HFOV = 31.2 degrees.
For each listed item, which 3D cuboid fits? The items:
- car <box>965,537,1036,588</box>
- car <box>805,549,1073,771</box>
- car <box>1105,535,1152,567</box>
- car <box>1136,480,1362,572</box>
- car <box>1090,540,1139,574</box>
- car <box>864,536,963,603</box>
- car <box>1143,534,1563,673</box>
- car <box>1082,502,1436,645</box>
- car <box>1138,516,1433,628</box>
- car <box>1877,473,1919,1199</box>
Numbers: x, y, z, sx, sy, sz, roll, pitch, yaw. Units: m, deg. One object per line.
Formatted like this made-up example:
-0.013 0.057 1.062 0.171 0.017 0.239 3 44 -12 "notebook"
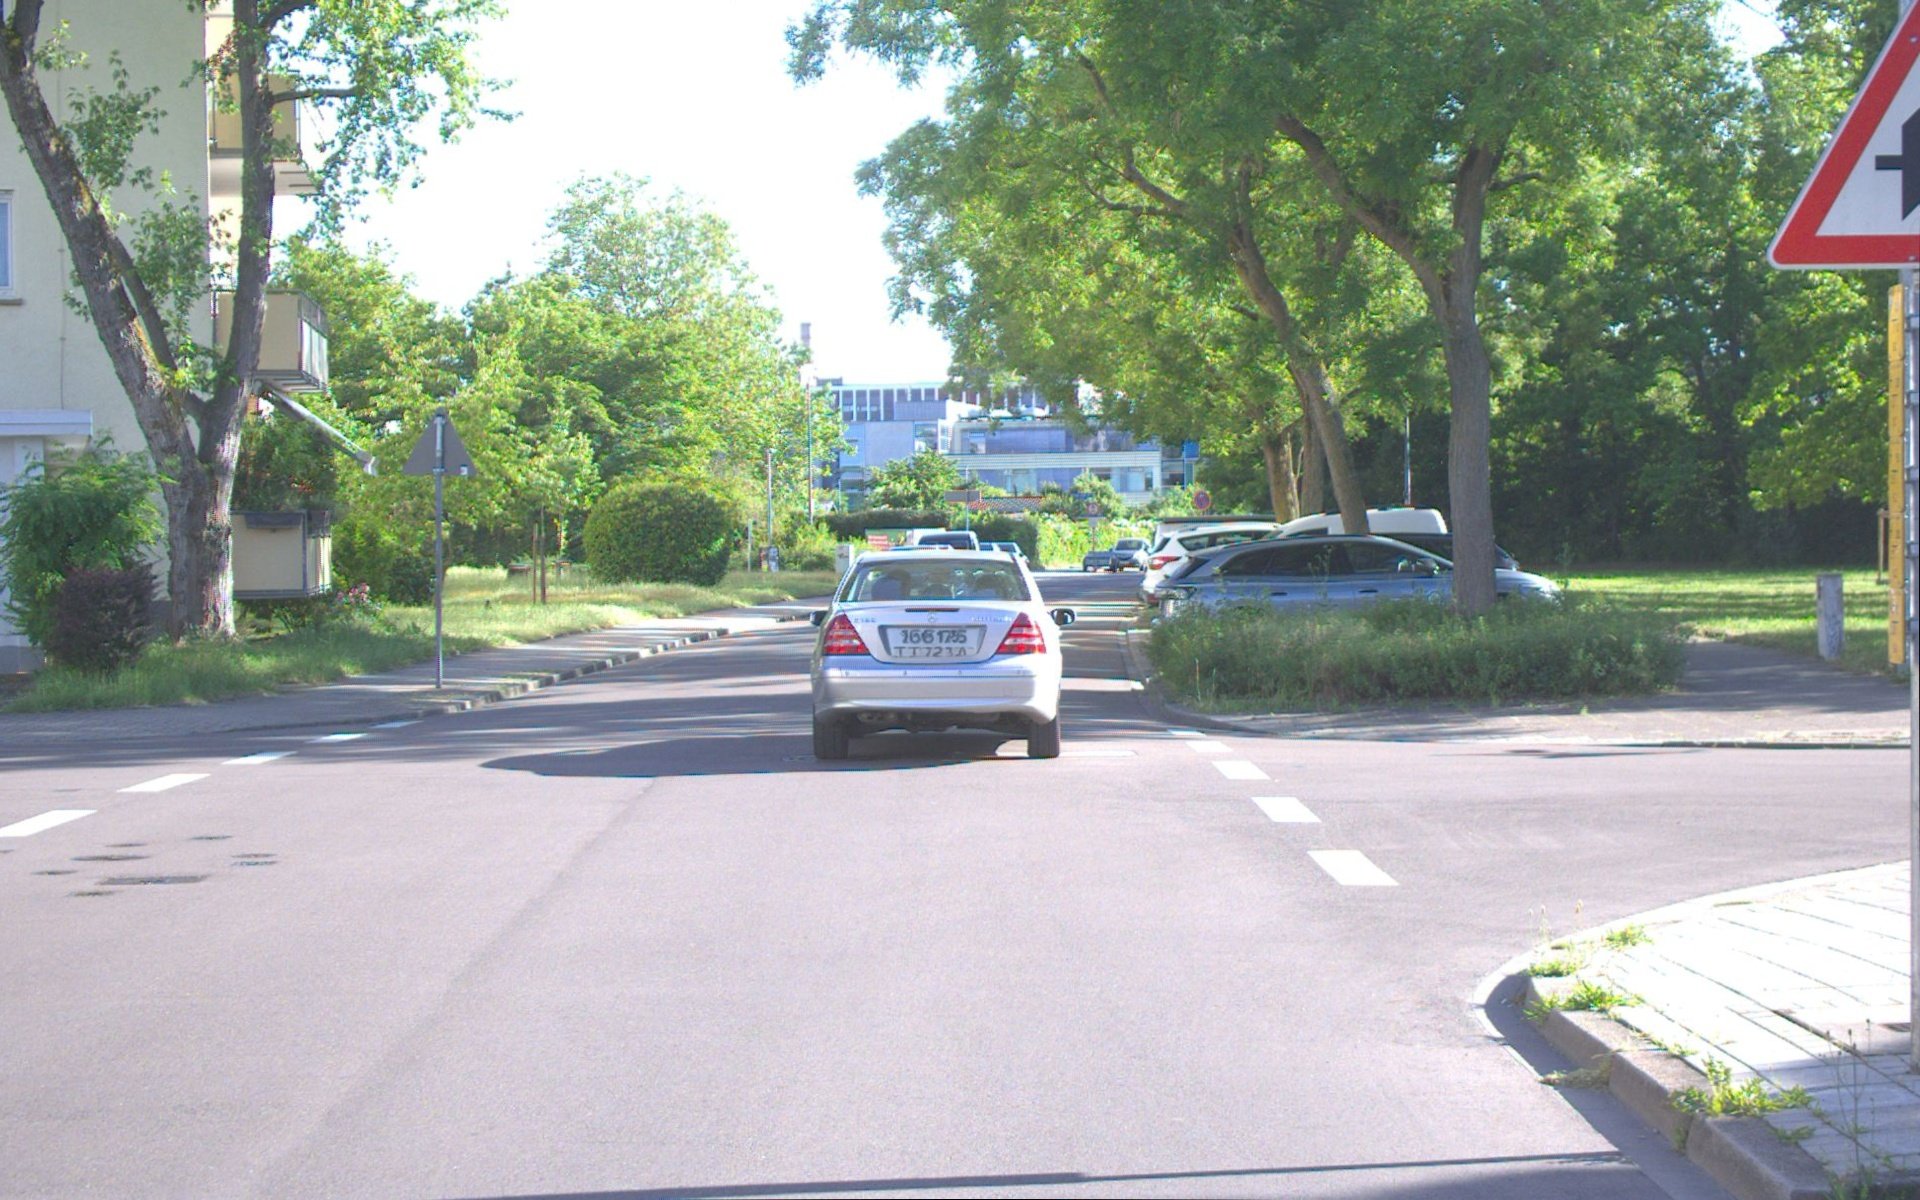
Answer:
1.298 -1.214 109.048 1.750 1.515 4.192 -2 1 7 "car"
-0.176 0.375 24.068 1.733 1.429 3.438 0 0 -1 "car"
8.212 -2.393 167.083 1.894 1.497 3.655 -1 1 9 "car"
6.830 -1.745 81.197 5.218 2.052 2.000 -1 1 5 "car"
7.151 -2.007 158.866 1.894 1.497 3.655 -1 1 9 "car"
-1.111 -0.760 83.953 1.913 1.485 3.836 -3 1 6 "car"
4.642 0.019 41.150 4.782 1.543 2.012 -1 1 1 "car"
4.357 -0.410 50.574 4.883 1.917 2.000 -2 1 -4 "car"
5.516 -0.493 58.659 4.885 1.717 2.000 -2 1 4 "car"
2.794 0.590 4.158 1.774 1.674 4.646 -4 1 -4 "car"
